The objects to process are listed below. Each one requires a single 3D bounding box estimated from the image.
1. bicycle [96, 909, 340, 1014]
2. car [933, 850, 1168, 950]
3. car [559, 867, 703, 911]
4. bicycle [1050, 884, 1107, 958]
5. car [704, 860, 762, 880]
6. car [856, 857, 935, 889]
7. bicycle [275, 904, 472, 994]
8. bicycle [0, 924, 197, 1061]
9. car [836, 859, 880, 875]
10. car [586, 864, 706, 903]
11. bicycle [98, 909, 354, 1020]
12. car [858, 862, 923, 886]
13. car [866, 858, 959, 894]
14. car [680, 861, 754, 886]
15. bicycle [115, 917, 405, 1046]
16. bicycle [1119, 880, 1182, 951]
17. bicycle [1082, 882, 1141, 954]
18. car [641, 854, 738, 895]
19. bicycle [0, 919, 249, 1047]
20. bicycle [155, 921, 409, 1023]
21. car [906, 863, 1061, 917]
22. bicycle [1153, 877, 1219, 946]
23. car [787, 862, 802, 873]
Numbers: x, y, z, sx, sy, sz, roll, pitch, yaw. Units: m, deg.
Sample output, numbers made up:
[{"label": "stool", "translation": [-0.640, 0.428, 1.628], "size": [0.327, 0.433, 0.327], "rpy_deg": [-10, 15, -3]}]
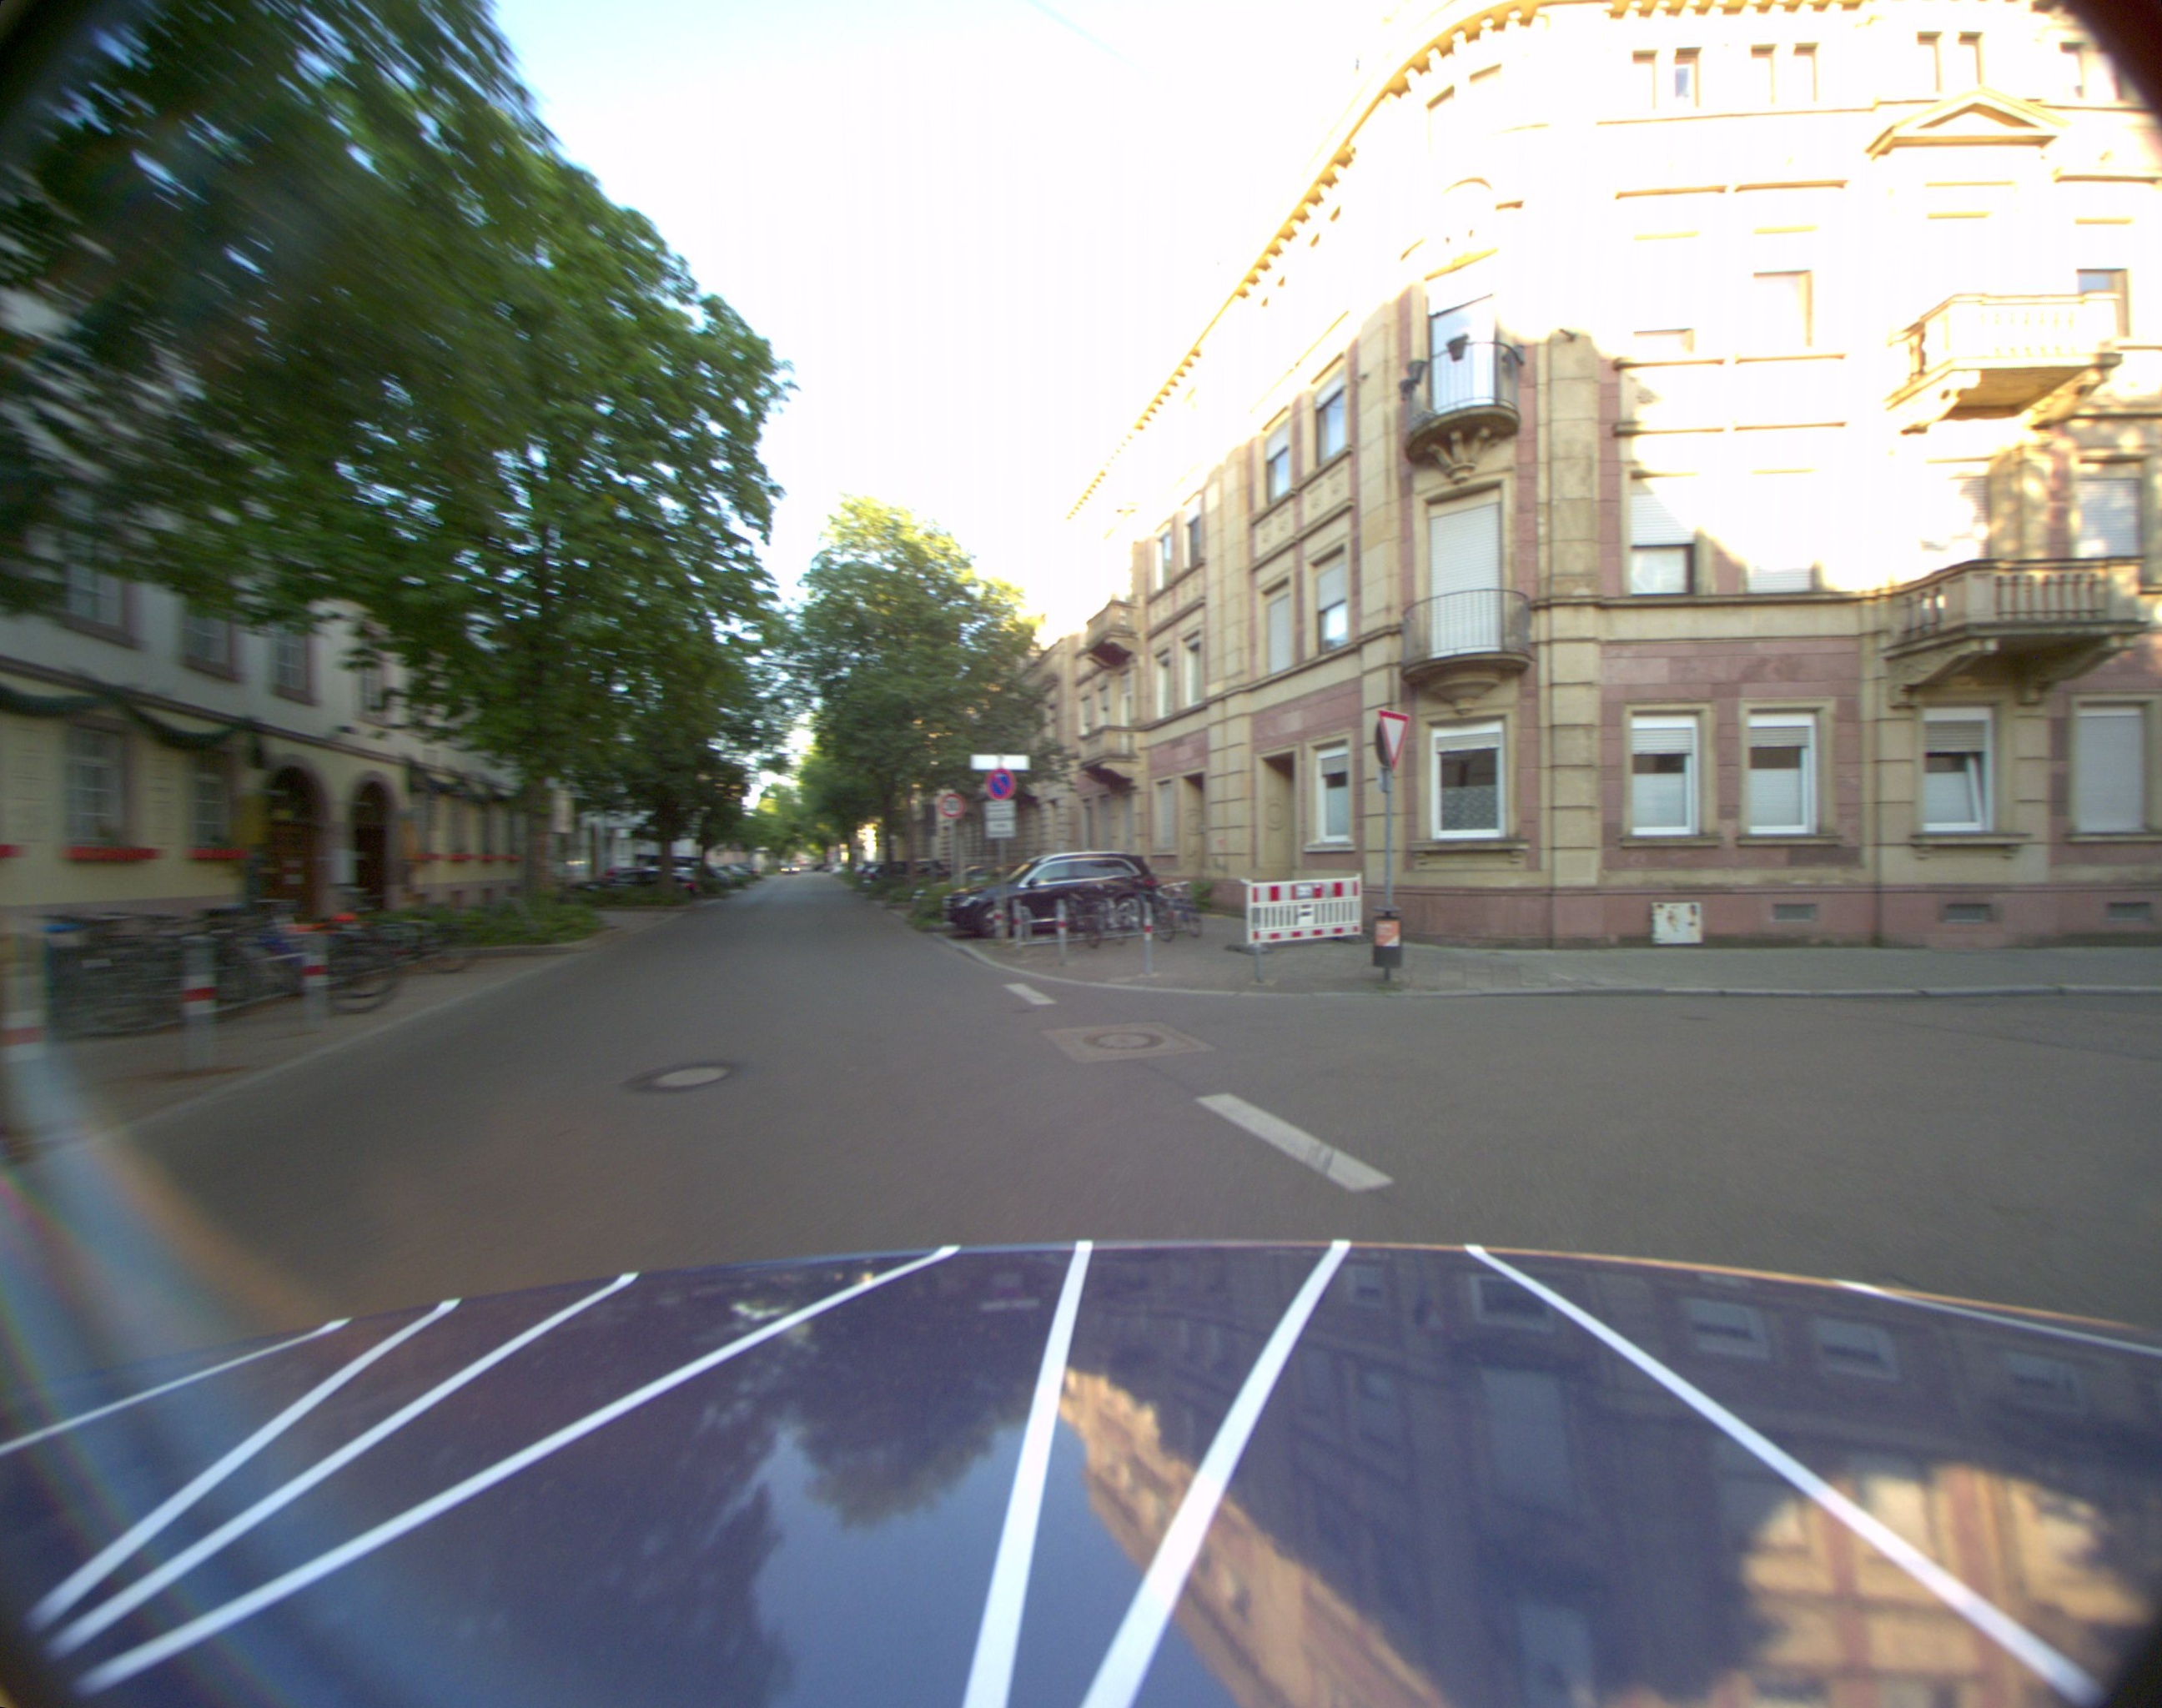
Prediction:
[{"label": "bicycle", "translation": [-10.730, 1.311, 9.528], "size": [2.044, 1.139, 0.420], "rpy_deg": [-1, 0, -21]}, {"label": "car", "translation": [-0.656, 0.871, 16.091], "size": [4.595, 1.728, 1.773], "rpy_deg": [-2, 2, -19]}, {"label": "car", "translation": [-17.174, 1.301, 29.242], "size": [4.450, 1.496, 1.774], "rpy_deg": [-1, 0, -19]}, {"label": "bicycle", "translation": [-0.073, 1.125, 13.184], "size": [0.365, 1.083, 1.867], "rpy_deg": [-3, 2, -19]}, {"label": "car", "translation": [-30.253, 1.374, 66.199], "size": [4.450, 1.603, 1.774], "rpy_deg": [-1, 0, -19]}, {"label": "car", "translation": [-11.054, 1.107, 45.275], "size": [4.450, 1.728, 1.774], "rpy_deg": [-1, 0, -19]}, {"label": "bicycle", "translation": [-10.071, 1.330, 10.891], "size": [2.044, 1.139, 0.420], "rpy_deg": [-1, 0, -21]}, {"label": "bicycle", "translation": [-9.602, 1.269, 6.954], "size": [2.043, 1.139, 0.446], "rpy_deg": [-1, 0, -16]}, {"label": "car", "translation": [-23.906, 1.419, 81.433], "size": [4.450, 1.638, 1.774], "rpy_deg": [-1, 0, -19]}, {"label": "car", "translation": [-19.614, 1.312, 34.469], "size": [4.450, 1.603, 1.774], "rpy_deg": [-1, 0, -19]}, {"label": "bicycle", "translation": [-10.080, 1.275, 9.044], "size": [2.044, 1.139, 0.420], "rpy_deg": [-1, 0, -21]}, {"label": "car", "translation": [-12.719, 1.305, 50.721], "size": [4.037, 1.474, 1.774], "rpy_deg": [-1, 0, -19]}, {"label": "car", "translation": [-8.594, 1.091, 38.709], "size": [4.450, 1.728, 1.774], "rpy_deg": [-1, 0, -19]}, {"label": "car", "translation": [-25.510, 1.339, 53.399], "size": [4.450, 1.603, 1.774], "rpy_deg": [-1, 0, -19]}, {"label": "bicycle", "translation": [-8.382, 1.272, 7.854], "size": [2.044, 1.139, 0.445], "rpy_deg": [-1, 0, -19]}, {"label": "bicycle", "translation": [1.215, 1.063, 13.681], "size": [0.365, 1.083, 1.867], "rpy_deg": [-3, 2, -19]}, {"label": "bicycle", "translation": [0.516, 1.096, 13.553], "size": [0.365, 1.083, 1.867], "rpy_deg": [-3, 2, -19]}, {"label": "car", "translation": [-21.276, 1.096, 41.521], "size": [4.450, 2.110, 1.774], "rpy_deg": [-1, 0, -19]}, {"label": "bicycle", "translation": [-9.962, 1.287, 7.720], "size": [2.044, 1.139, 0.420], "rpy_deg": [-1, 0, -21]}, {"label": "bicycle", "translation": [-9.197, 1.335, 8.834], "size": [2.044, 0.998, 0.420], "rpy_deg": [-1, 0, -21]}, {"label": "car", "translation": [-3.018, 1.064, 23.388], "size": [4.450, 1.478, 1.774], "rpy_deg": [-1, 0, -19]}, {"label": "bicycle", "translation": [1.896, 1.019, 13.930], "size": [0.365, 1.083, 1.867], "rpy_deg": [-3, 2, -19]}, {"label": "car", "translation": [-39.072, 1.856, 103.795], "size": [1.830, 1.364, 3.993], "rpy_deg": [-1, 0, -20]}]
